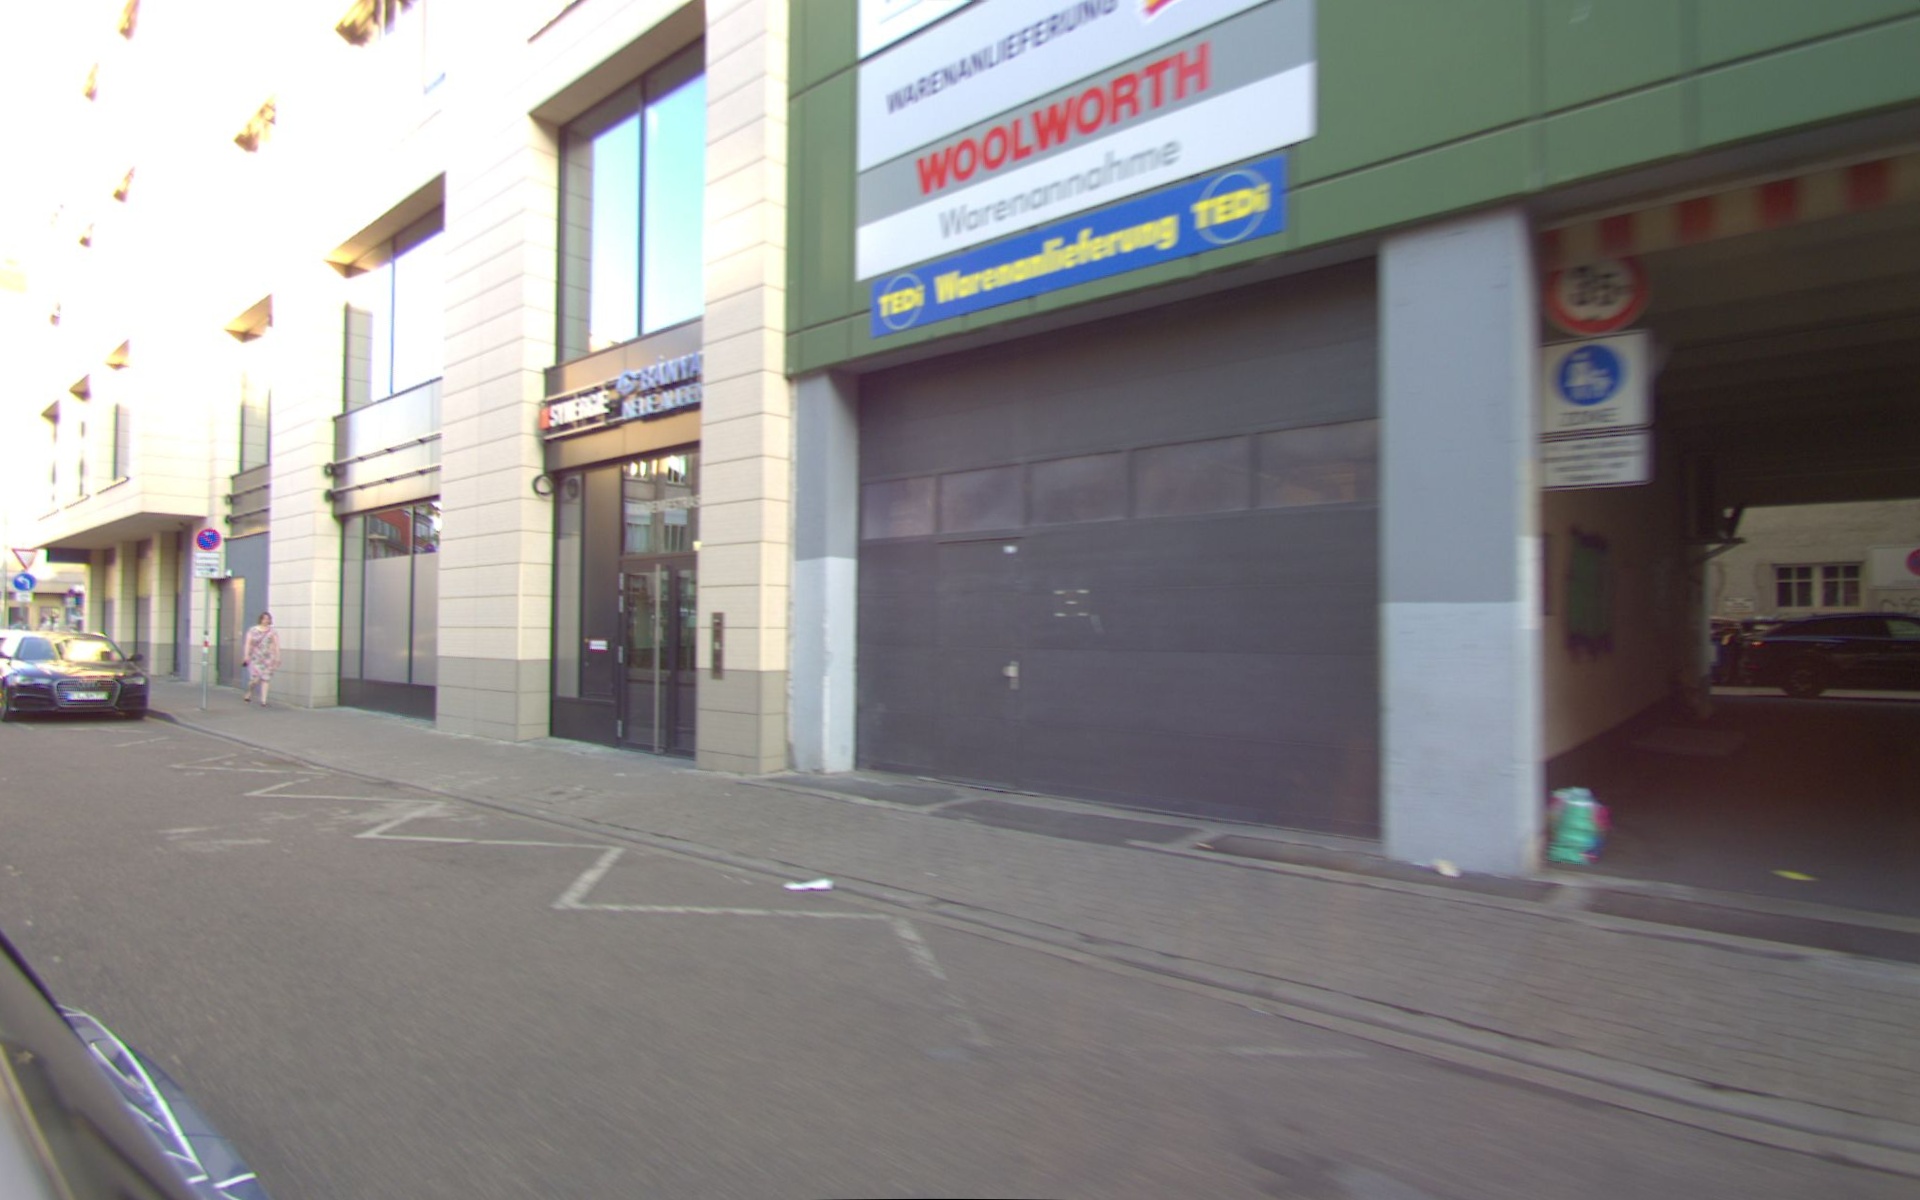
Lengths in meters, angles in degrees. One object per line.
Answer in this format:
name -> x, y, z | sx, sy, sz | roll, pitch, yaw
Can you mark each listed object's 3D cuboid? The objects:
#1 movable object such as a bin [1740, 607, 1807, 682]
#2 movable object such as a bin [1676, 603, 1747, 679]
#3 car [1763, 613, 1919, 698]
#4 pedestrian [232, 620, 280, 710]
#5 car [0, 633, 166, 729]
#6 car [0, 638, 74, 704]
movable object such as a bin -> 19.372, 1.049, 24.093 | 1.161, 1.727, 1.283 | -2, -2, 41
movable object such as a bin -> 18.485, 0.987, 24.893 | 1.272, 1.770, 1.347 | -2, -1, 41
car -> 17.657, 1.008, 18.832 | 4.204, 1.480, 1.610 | -1, 0, 41
pedestrian -> -13.185, 1.198, 18.963 | 0.565, 1.638, 0.612 | -2, -2, 41
car -> -15.733, 1.330, 17.730 | 4.556, 1.428, 1.973 | -1, -4, 41
car -> -22.585, 1.631, 23.849 | 3.623, 1.460, 1.796 | -2, -4, 36
